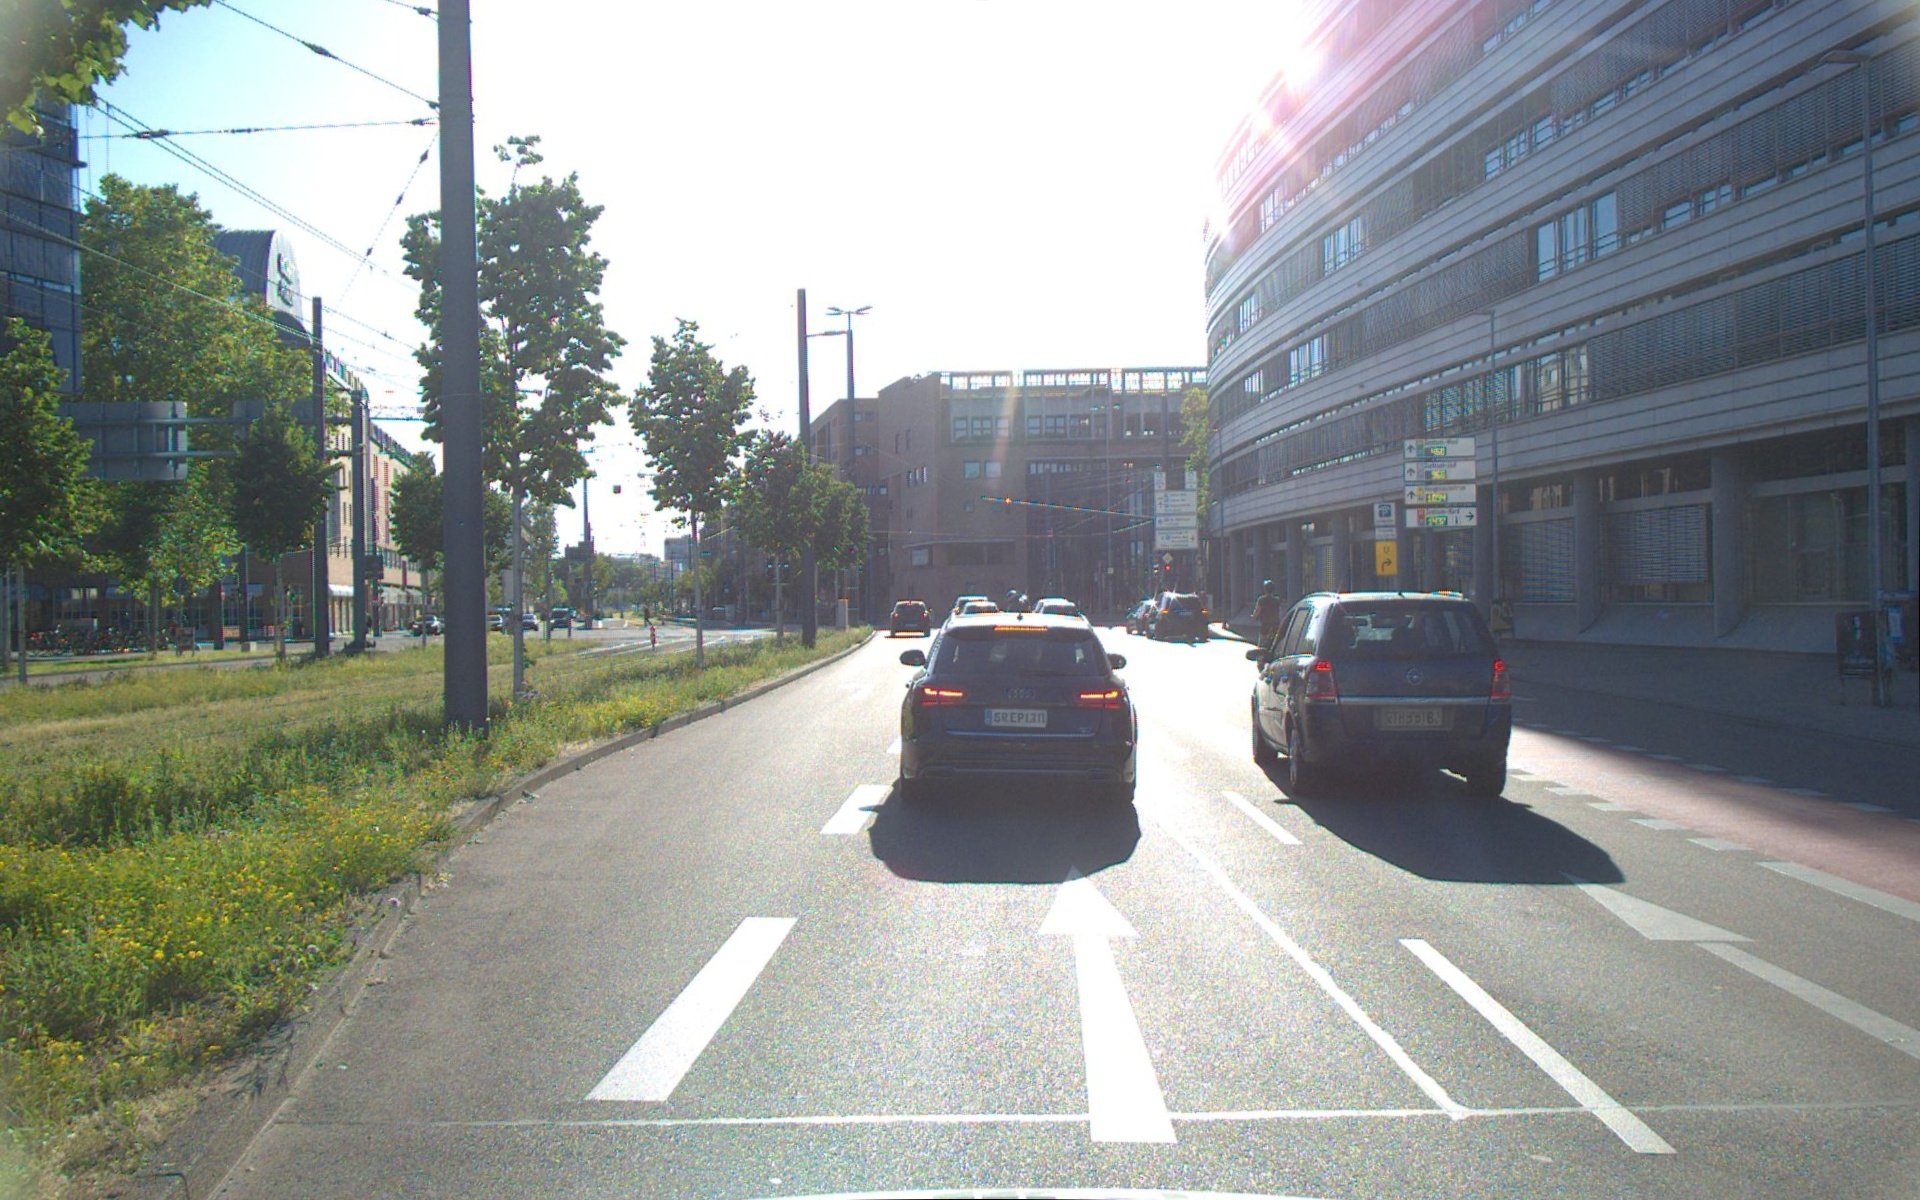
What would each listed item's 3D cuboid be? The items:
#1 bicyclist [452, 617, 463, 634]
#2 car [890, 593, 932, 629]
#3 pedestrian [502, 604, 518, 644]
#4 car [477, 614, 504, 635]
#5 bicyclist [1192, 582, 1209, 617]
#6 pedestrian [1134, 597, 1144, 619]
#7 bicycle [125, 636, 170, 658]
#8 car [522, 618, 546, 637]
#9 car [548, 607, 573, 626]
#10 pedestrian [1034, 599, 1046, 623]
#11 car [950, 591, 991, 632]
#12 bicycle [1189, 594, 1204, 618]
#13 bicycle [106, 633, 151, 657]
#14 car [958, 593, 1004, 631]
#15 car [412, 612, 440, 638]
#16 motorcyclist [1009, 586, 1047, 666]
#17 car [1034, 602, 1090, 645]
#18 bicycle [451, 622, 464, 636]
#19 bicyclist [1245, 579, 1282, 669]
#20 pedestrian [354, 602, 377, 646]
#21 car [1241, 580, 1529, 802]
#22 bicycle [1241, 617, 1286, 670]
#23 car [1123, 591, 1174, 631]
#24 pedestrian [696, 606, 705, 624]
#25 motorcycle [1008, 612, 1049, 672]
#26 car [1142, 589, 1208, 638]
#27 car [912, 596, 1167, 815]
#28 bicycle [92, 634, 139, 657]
[{"bbox_3d":[-40.989,2.062,134.917,0.744,1.399,0.948,-1,0,-11],"label":"bicyclist"},{"bbox_3d":[-2.053,0.439,69.997,1.615,1.458,4.000,-1,0,0],"label":"car"},{"bbox_3d":[-20.833,1.105,76.585,0.619,1.862,0.662,-1,0,-8],"label":"pedestrian"},{"bbox_3d":[-40.061,2.093,141.206,1.960,1.624,4.720,-2,1,-14],"label":"car"},{"bbox_3d":[11.535,-0.027,79.267,0.669,1.646,0.992,-1,0,15],"label":"bicyclist"},{"bbox_3d":[12.002,0.530,110.990,0.519,1.455,0.598,-1,0,-2],"label":"pedestrian"},{"bbox_3d":[-37.241,2.147,75.803,1.733,0.968,0.540,-1,0,-9],"label":"bicycle"},{"bbox_3d":[-36.451,2.376,141.547,1.718,1.531,3.860,-1,0,-18],"label":"car"},{"bbox_3d":[-34.018,1.371,140.702,1.718,1.531,3.860,-1,0,-18],"label":"car"},{"bbox_3d":[6.048,0.810,124.535,0.692,1.789,0.560,-1,0,24],"label":"pedestrian"},{"bbox_3d":[0.427,0.488,70.963,1.702,1.680,4.000,-1,0,0],"label":"car"},{"bbox_3d":[11.324,0.284,79.107,0.493,1.076,1.703,-4,-1,14],"label":"bicycle"},{"bbox_3d":[-37.001,1.999,73.601,1.745,0.968,0.536,-1,0,-28],"label":"bicycle"},{"bbox_3d":[0.786,0.453,63.623,1.702,1.373,4.000,-1,0,0],"label":"car"},{"bbox_3d":[-44.608,2.087,138.152,1.960,2.049,3.985,-1,0,-14],"label":"car"},{"bbox_3d":[1.370,0.517,33.241,0.729,1.557,1.021,-1,0,2],"label":"motorcyclist"},{"bbox_3d":[3.673,0.825,60.265,1.770,1.483,4.000,0,0,0],"label":"car"},{"bbox_3d":[-40.982,2.355,134.854,0.638,1.104,2.919,-1,0,-10],"label":"bicycle"},{"bbox_3d":[6.259,0.486,34.112,0.565,1.822,0.863,-1,0,0],"label":"bicyclist"},{"bbox_3d":[-28.117,1.142,78.244,0.717,2.049,0.838,0,0,3],"label":"pedestrian"},{"bbox_3d":[3.603,0.694,14.801,1.652,1.657,4.465,-1,0,3],"label":"car"},{"bbox_3d":[6.274,0.889,34.237,0.481,1.015,2.328,-1,0,0],"label":"bicycle"},{"bbox_3d":[8.187,0.455,72.164,1.952,1.680,4.002,-1,0,3],"label":"car"},{"bbox_3d":[-23.568,1.359,150.068,0.729,1.669,0.765,-1,0,-15],"label":"pedestrian"},{"bbox_3d":[1.370,0.833,33.376,0.759,1.135,1.969,-1,0,2],"label":"motorcycle"},{"bbox_3d":[8.373,0.499,64.615,1.953,1.780,4.328,-1,0,0],"label":"car"},{"bbox_3d":[0.498,0.740,13.932,1.774,1.518,4.494,1,0,-2],"label":"car"},{"bbox_3d":[-36.984,1.985,72.431,1.737,0.968,0.539,-1,0,-17],"label":"bicycle"}]
